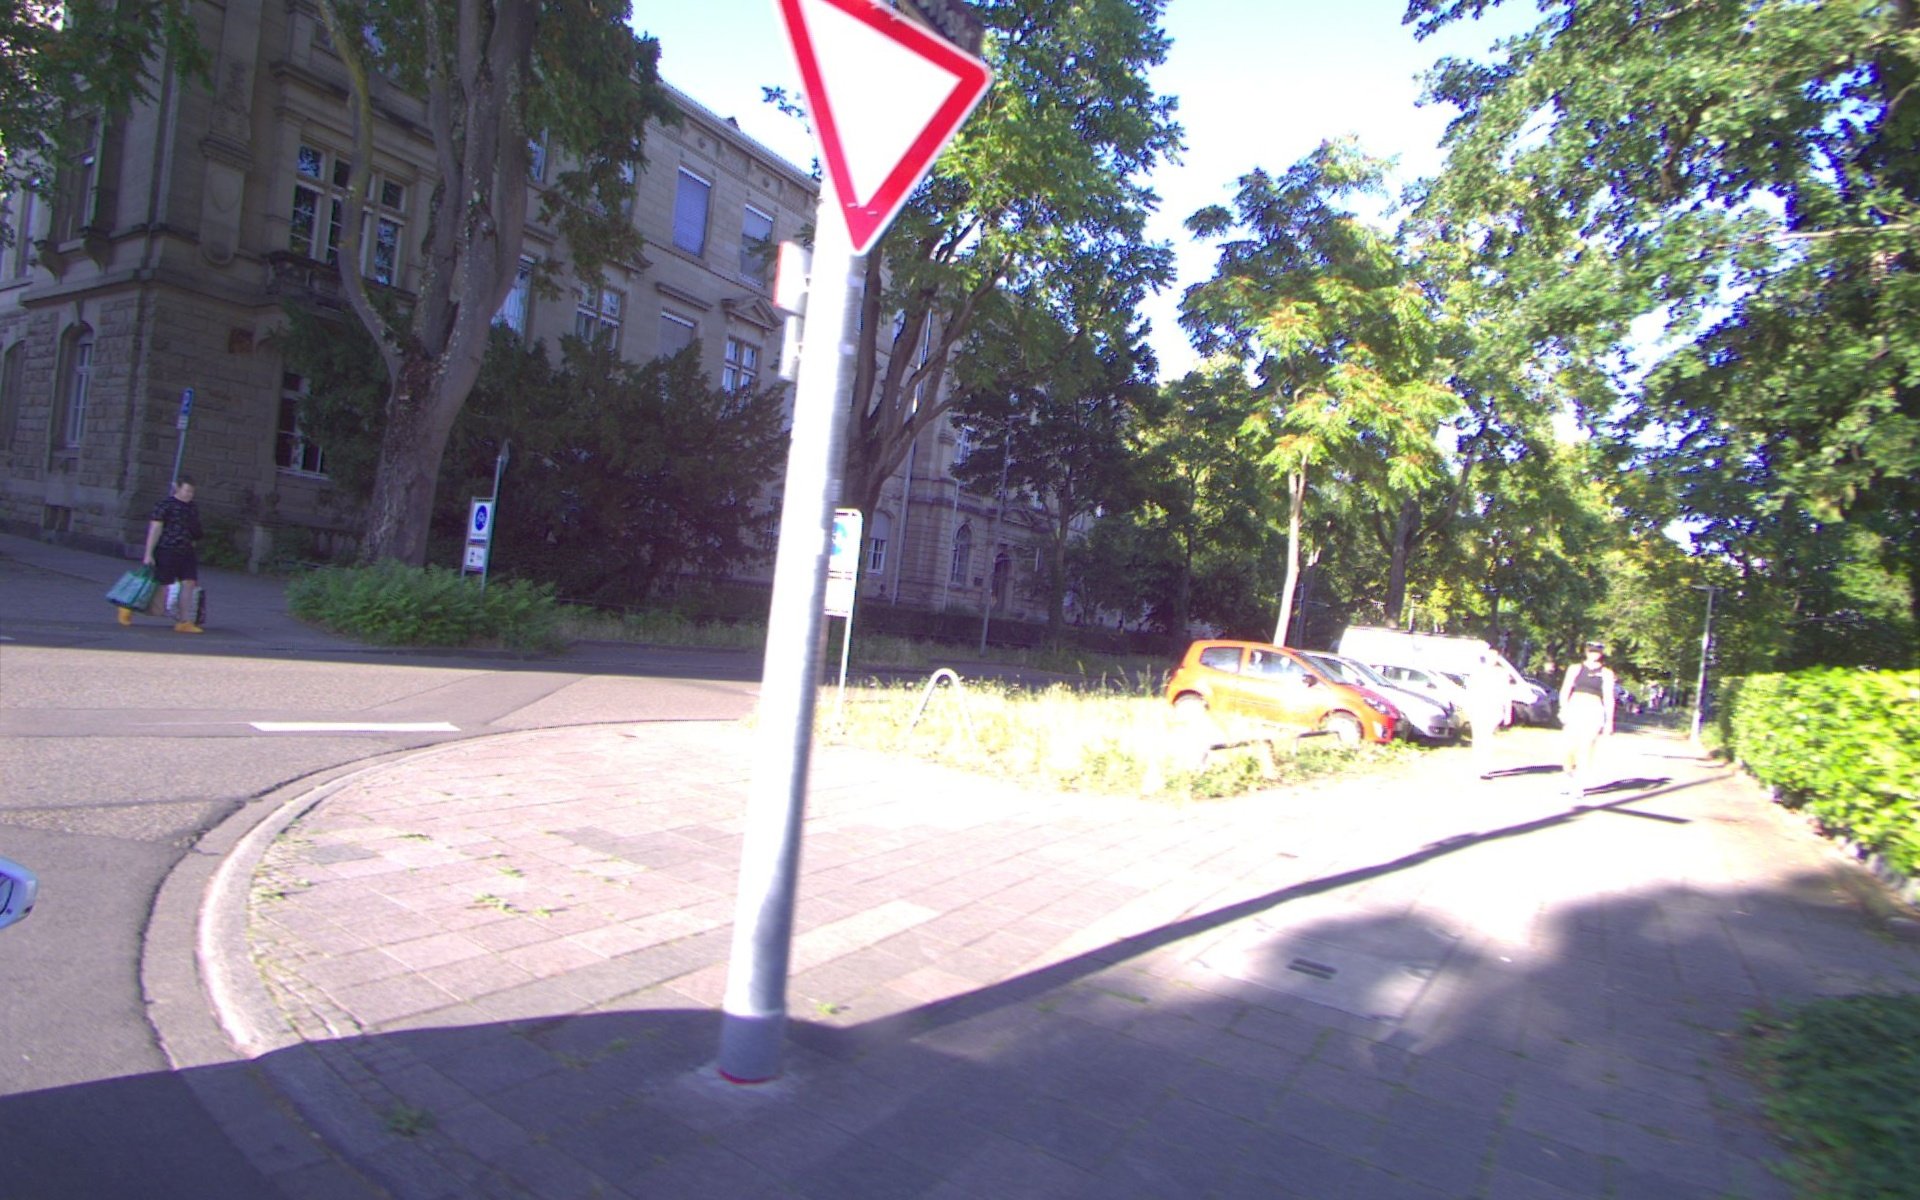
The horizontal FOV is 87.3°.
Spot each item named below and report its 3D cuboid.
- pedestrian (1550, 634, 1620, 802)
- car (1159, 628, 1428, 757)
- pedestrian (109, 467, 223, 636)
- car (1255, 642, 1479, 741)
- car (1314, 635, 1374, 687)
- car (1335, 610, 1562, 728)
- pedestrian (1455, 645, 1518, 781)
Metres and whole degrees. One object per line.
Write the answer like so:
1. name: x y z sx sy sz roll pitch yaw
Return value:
1. pedestrian: 7.069 1.322 11.372 0.429 1.797 0.663 7 0 38
2. car: 5.240 1.403 15.915 3.619 1.437 1.715 7 0 32
3. pedestrian: -9.662 -0.566 12.260 0.602 1.943 0.722 7 1 10
4. car: 8.465 1.858 21.041 3.993 1.437 1.715 7 0 32
5. car: 22.145 3.554 57.955 1.923 2.631 4.152 7 0 37
6. car: 14.893 2.052 30.822 5.813 2.734 2.216 7 0 32
7. pedestrian: 6.568 1.402 12.539 0.429 1.600 0.663 7 0 38
